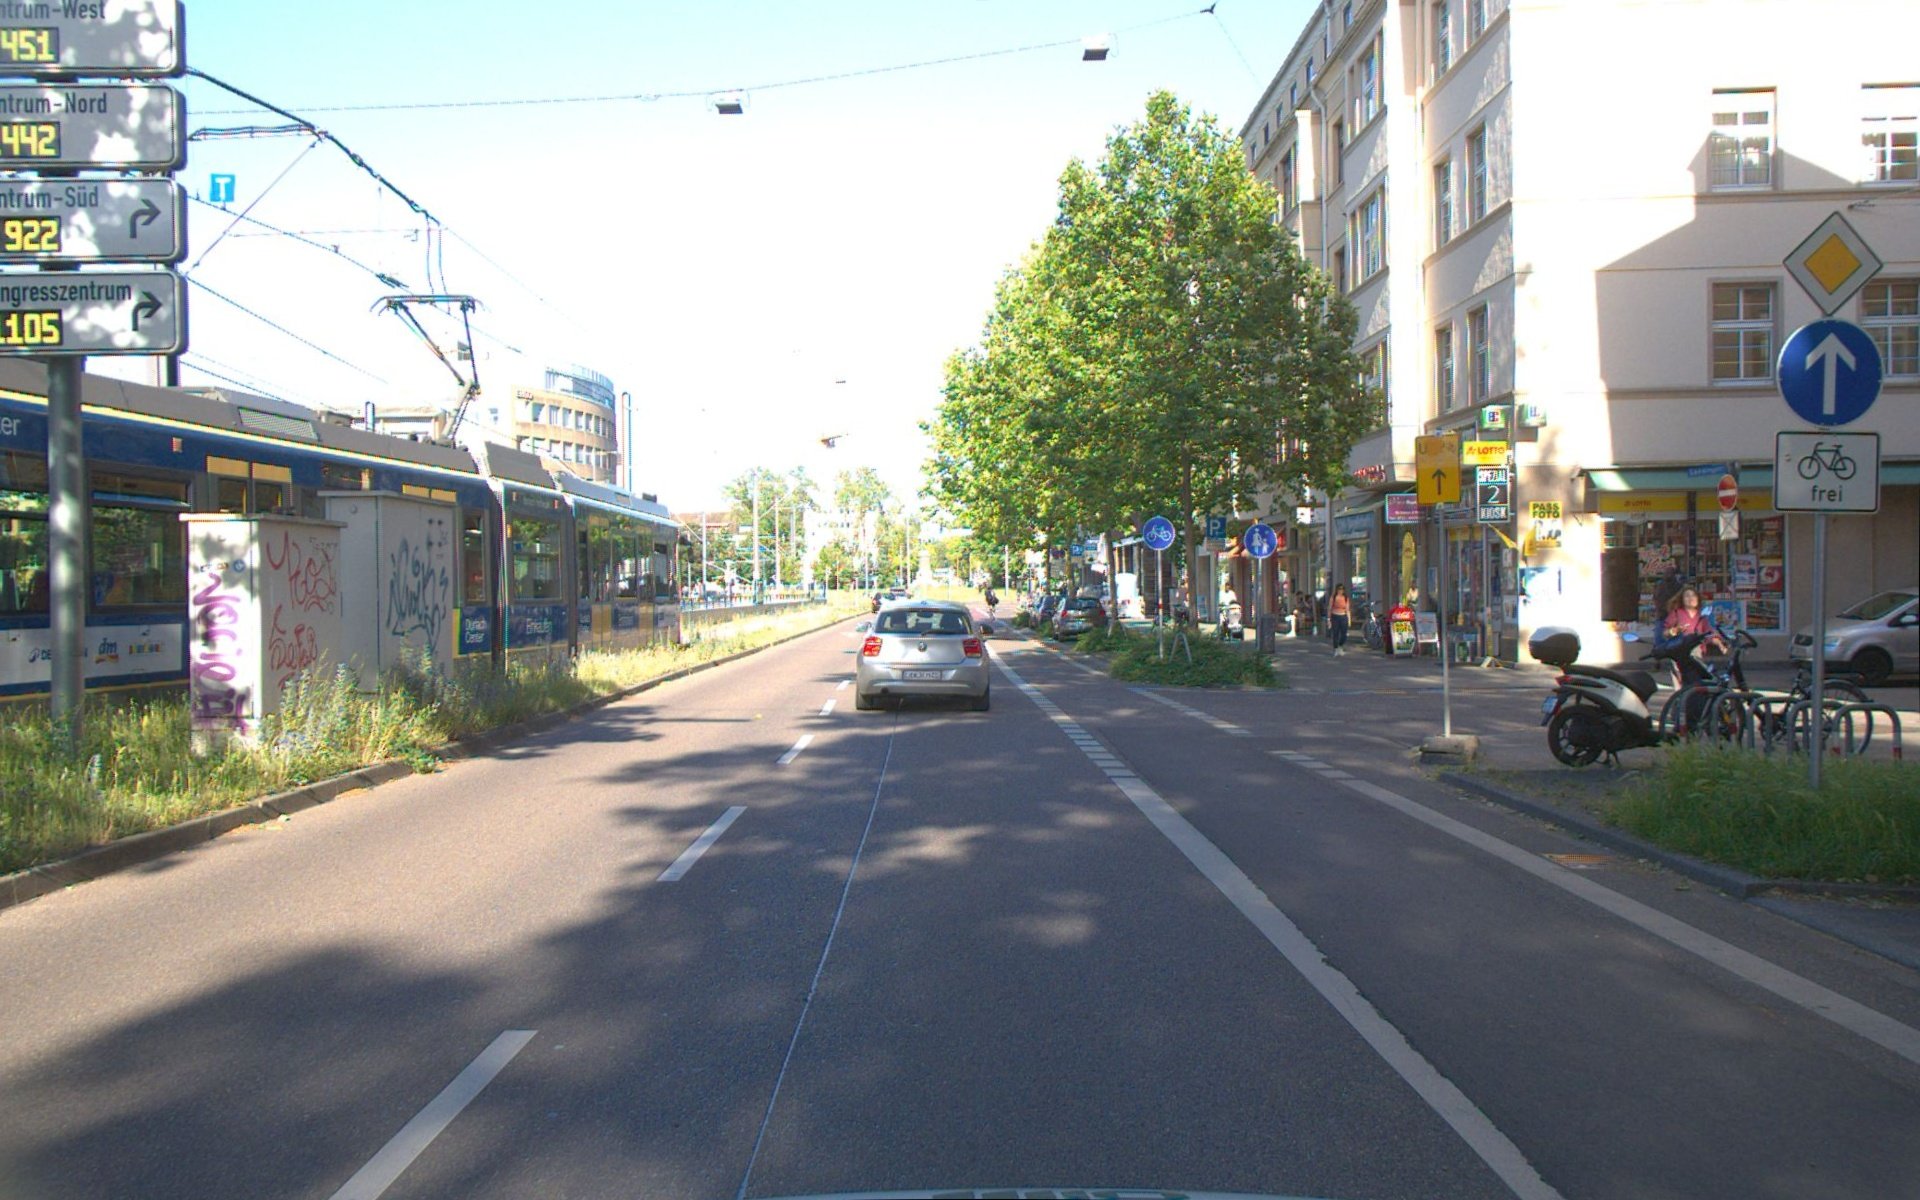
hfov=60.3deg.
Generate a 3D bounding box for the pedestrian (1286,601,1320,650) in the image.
[{"bbox_3d":[9.888,0.727,47.702,0.769,1.393,0.856,-1,-1,0],"label":"pedestrian"}]

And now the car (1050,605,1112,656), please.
[{"bbox_3d":[4.006,0.984,55.281,1.660,1.528,3.800,-3,0,-1],"label":"car"}]

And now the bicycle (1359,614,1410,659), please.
[{"bbox_3d":[10.147,0.855,39.611,0.480,1.042,2.622,-1,0,-1],"label":"bicycle"}]

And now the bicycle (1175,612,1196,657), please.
[{"bbox_3d":[6.441,0.968,47.195,0.377,1.228,1.875,1,0,13],"label":"bicycle"}]

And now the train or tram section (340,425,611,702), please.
[{"bbox_3d":[-7.436,-0.525,25.927,2.893,3.965,3.867,1,-1,2],"label":"train or tram section"}]

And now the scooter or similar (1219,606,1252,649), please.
[{"bbox_3d":[7.730,0.766,46.385,0.729,1.192,0.848,-1,-1,-4],"label":"scooter or similar"}]

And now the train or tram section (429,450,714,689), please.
[{"bbox_3d":[-7.329,-0.468,33.219,2.892,3.965,10.803,1,0,1],"label":"train or tram section"}]

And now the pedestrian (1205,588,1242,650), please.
[{"bbox_3d":[7.561,0.535,47.447,0.842,1.734,0.916,-1,-1,-3],"label":"pedestrian"}]

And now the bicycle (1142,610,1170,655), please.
[{"bbox_3d":[5.532,0.931,46.813,0.384,1.236,1.901,-2,-2,-5],"label":"bicycle"}]

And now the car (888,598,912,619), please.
[{"bbox_3d":[-4.287,0.594,118.904,1.611,1.446,3.999,1,0,-1],"label":"car"}]

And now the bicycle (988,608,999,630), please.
[{"bbox_3d":[1.745,1.000,85.530,0.489,1.107,1.996,1,-1,-1],"label":"bicycle"}]

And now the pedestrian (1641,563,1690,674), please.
[{"bbox_3d":[12.441,0.325,29.157,0.541,1.937,0.586,1,-1,-12],"label":"pedestrian"}]

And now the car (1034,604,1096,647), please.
[{"bbox_3d":[3.949,0.944,62.871,1.997,1.535,4.593,0,0,-1],"label":"car"}]

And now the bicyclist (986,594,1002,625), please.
[{"bbox_3d":[1.738,0.484,85.609,0.769,1.558,0.895,1,-1,-1],"label":"bicyclist"}]

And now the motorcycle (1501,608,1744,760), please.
[{"bbox_3d":[5.712,0.718,14.289,1.911,1.252,0.515,1,-1,-4],"label":"motorcycle"}]

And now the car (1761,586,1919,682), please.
[{"bbox_3d":[15.591,0.529,27.373,3.857,1.500,1.666,-1,0,3],"label":"car"}]

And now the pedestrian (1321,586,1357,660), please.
[{"bbox_3d":[8.525,0.505,37.220,0.668,1.650,0.562,0,-1,-4],"label":"pedestrian"}]

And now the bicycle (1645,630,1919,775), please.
[{"bbox_3d":[6.756,0.827,13.447,2.177,1.112,0.455,1,-1,0],"label":"bicycle"}]

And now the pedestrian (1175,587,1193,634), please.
[{"bbox_3d":[8.360,0.394,61.868,0.546,1.741,0.770,-1,0,-1],"label":"pedestrian"}]

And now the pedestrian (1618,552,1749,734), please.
[{"bbox_3d":[8.416,0.489,19.286,1.066,2.049,1.046,1,-1,0],"label":"pedestrian"}]

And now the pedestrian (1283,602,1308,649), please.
[{"bbox_3d":[9.857,0.732,48.585,0.524,1.356,0.820,-1,-1,0],"label":"pedestrian"}]

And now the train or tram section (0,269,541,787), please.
[{"bbox_3d":[-8.201,-0.517,16.885,2.867,3.879,14.282,1,0,6],"label":"train or tram section"}]

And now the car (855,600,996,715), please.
[{"bbox_3d":[-0.470,0.726,22.633,1.761,1.439,3.999,0,0,-1],"label":"car"}]

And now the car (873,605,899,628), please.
[{"bbox_3d":[-4.969,1.105,111.325,1.692,1.496,4.407,0,0,-3],"label":"car"}]
